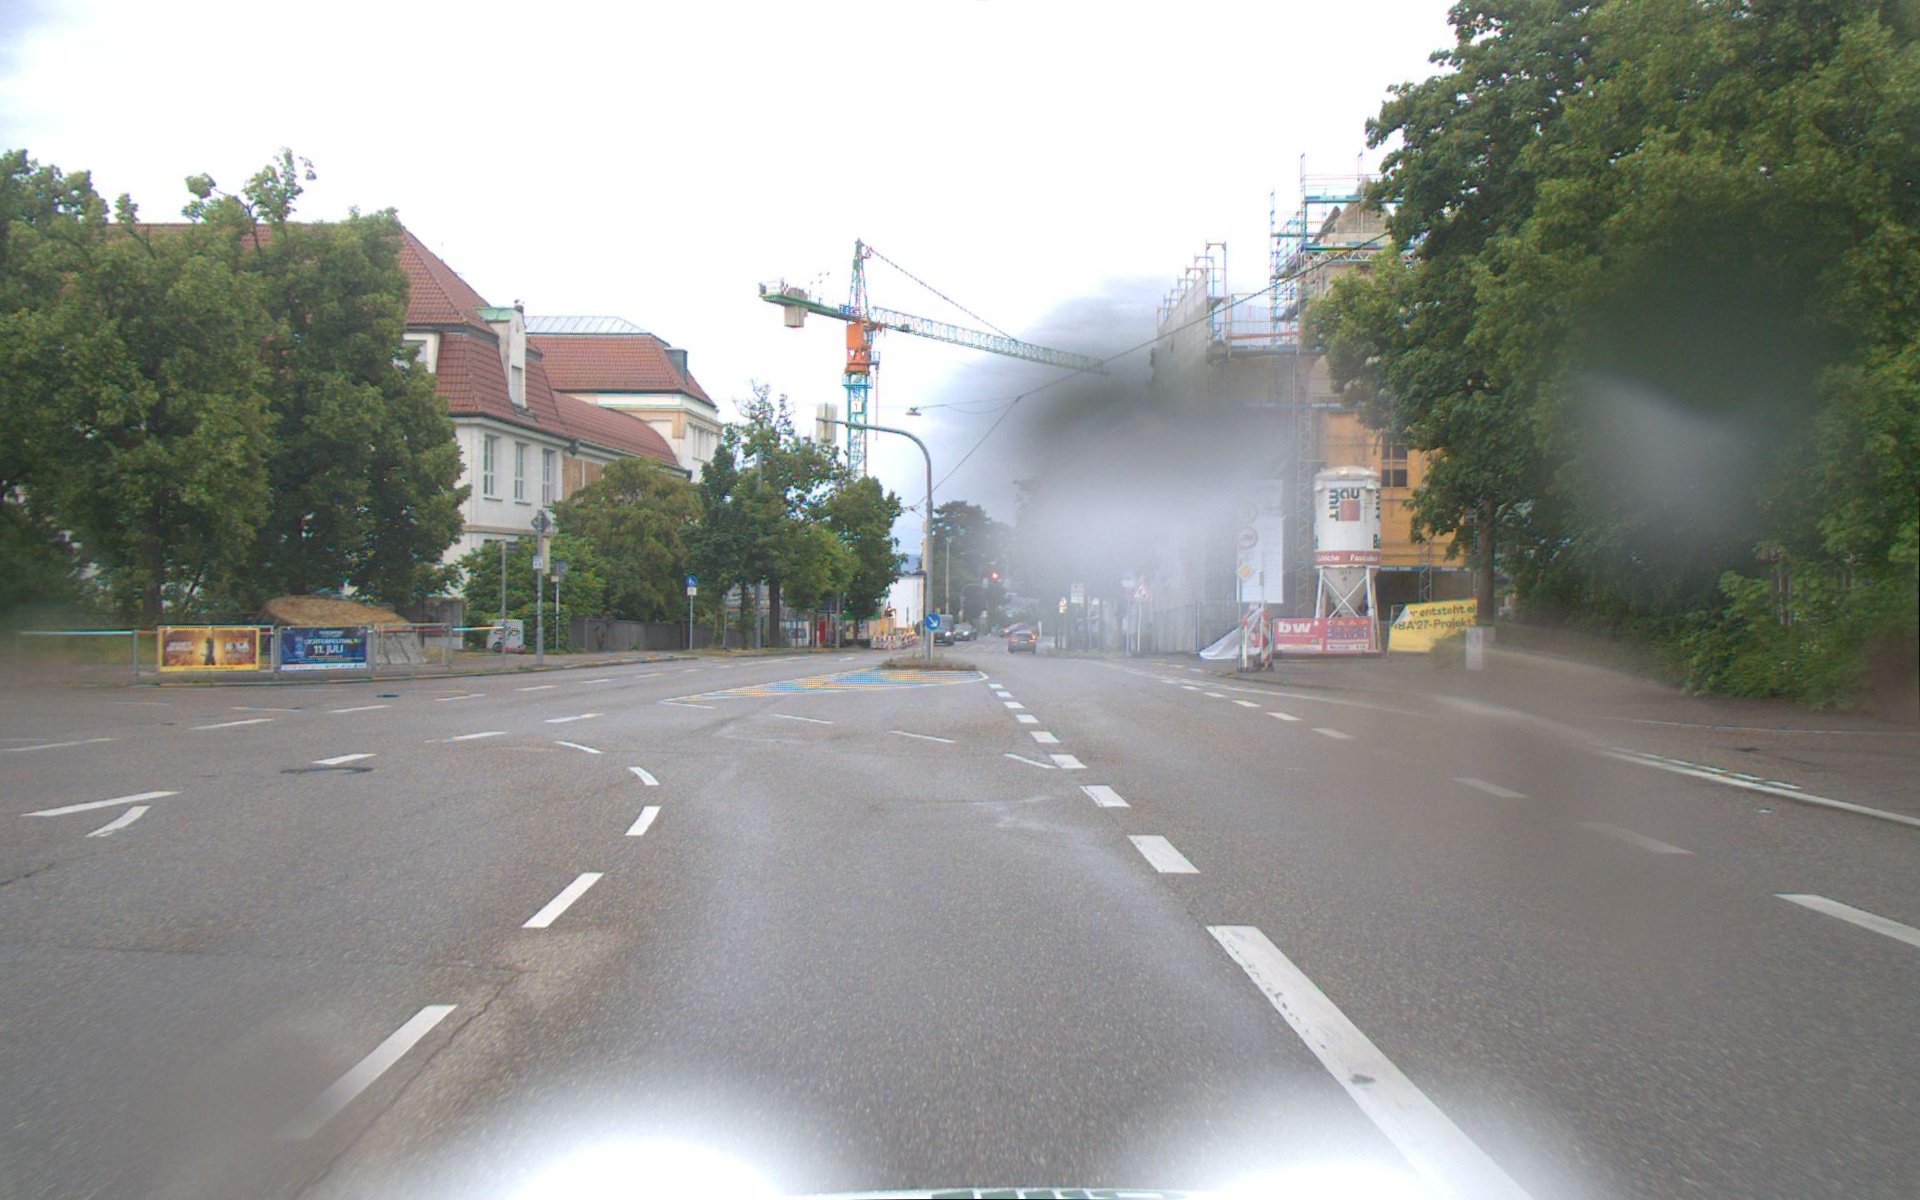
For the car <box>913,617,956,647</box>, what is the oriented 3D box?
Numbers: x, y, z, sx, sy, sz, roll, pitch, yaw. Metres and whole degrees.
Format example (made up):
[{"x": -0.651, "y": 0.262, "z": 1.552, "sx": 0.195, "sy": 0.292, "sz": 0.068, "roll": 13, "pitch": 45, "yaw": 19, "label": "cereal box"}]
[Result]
[{"x": -2.171, "y": 2.737, "z": 143.307, "sx": 2.788, "sy": 2.445, "sz": 6.192, "roll": 1, "pitch": 0, "yaw": 8, "label": "car"}]

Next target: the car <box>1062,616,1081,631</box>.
[{"x": 13.958, "y": 2.932, "z": 206.688, "sx": 1.951, "sy": 1.780, "sz": 4.003, "roll": 0, "pitch": 0, "yaw": 10, "label": "car"}]

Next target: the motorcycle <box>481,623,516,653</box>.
[{"x": -14.438, "y": 1.189, "z": 51.767, "sx": 0.832, "sy": 0.893, "sz": 0.877, "roll": 1, "pitch": 0, "yaw": -1, "label": "motorcycle"}]

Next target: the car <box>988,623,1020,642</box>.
[{"x": 4.503, "y": 3.319, "z": 169.765, "sx": 1.953, "sy": 1.914, "sz": 3.998, "roll": 0, "pitch": 0, "yaw": 23, "label": "car"}]

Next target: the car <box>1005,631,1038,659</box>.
[{"x": 4.137, "y": 3.035, "z": 112.347, "sx": 1.953, "sy": 1.780, "sz": 3.999, "roll": 0, "pitch": 0, "yaw": -2, "label": "car"}]

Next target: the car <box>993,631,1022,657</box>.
[{"x": 3.462, "y": 3.190, "z": 121.163, "sx": 1.953, "sy": 1.780, "sz": 3.999, "roll": 0, "pitch": 0, "yaw": -2, "label": "car"}]

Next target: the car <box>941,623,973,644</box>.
[{"x": -0.269, "y": 3.203, "z": 158.551, "sx": 1.952, "sy": 1.914, "sz": 4.001, "roll": 0, "pitch": 0, "yaw": 19, "label": "car"}]
